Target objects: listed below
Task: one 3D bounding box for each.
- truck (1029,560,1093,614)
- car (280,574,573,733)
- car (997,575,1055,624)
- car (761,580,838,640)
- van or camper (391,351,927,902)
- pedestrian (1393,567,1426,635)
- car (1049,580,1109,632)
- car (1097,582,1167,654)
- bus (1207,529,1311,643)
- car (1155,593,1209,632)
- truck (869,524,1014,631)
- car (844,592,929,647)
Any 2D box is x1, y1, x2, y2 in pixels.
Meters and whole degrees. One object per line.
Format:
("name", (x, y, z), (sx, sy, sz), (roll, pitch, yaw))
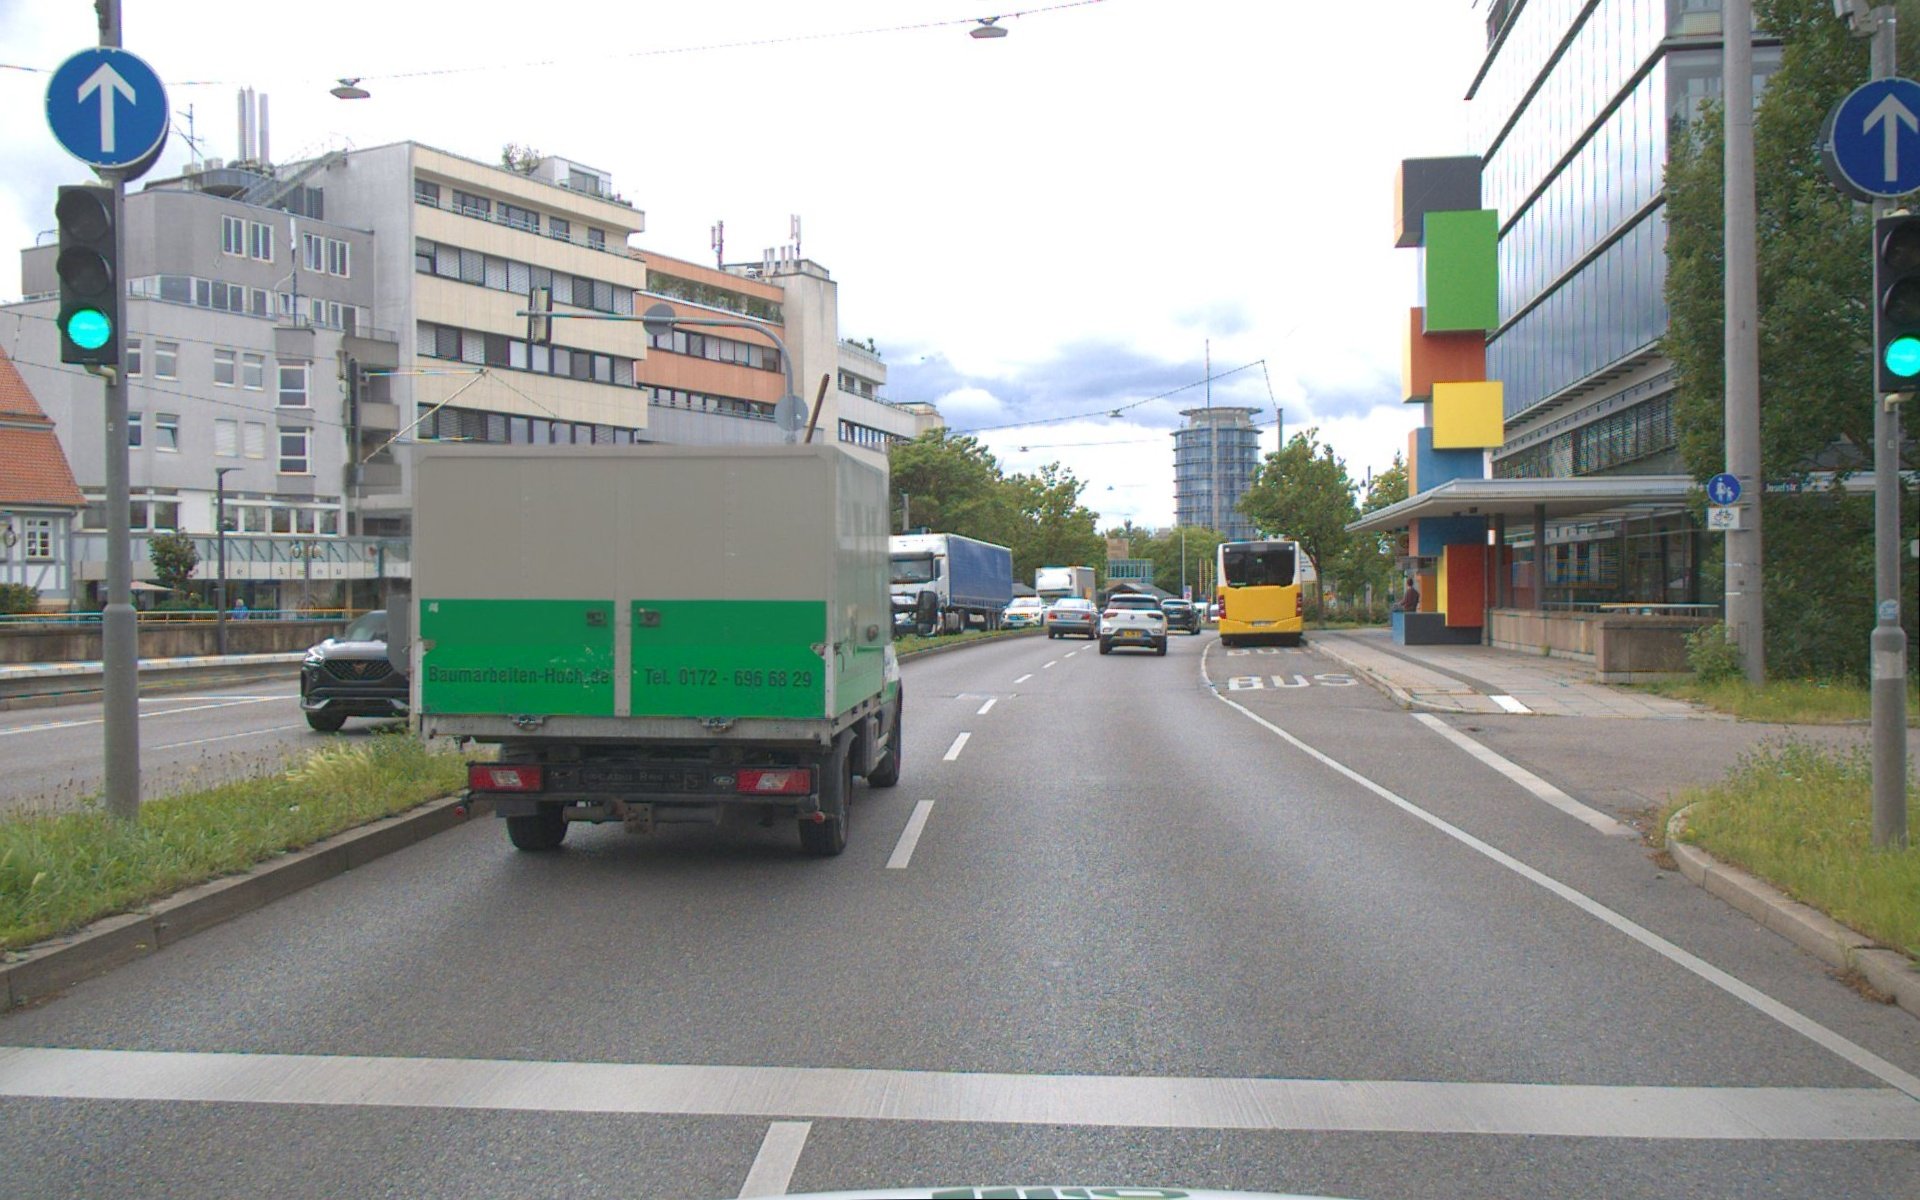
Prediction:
("truck", (6.232, -0.801, 100.672), (3.017, 3.081, 9.366), (0, 0, 9))
("car", (-6.087, 0.578, 19.447), (1.858, 1.646, 4.277), (-1, 0, 3))
("car", (2.921, -0.049, 72.398), (1.951, 2.049, 5.201), (0, 0, 9))
("car", (-4.935, 0.286, 51.382), (1.532, 1.784, 3.844), (0, 0, 7))
("van or camper", (-1.570, 0.051, 11.214), (2.294, 2.708, 5.968), (1, 2, 2))
("pedestrian", (12.362, 0.026, 45.533), (0.695, 1.847, 0.764), (0, 0, 0))
("car", (4.197, 0.183, 57.841), (1.663, 1.542, 3.741), (0, 4, 11))
("car", (4.661, 0.437, 44.453), (1.664, 1.574, 3.740), (3, 4, 8))
("bus", (9.710, -0.456, 53.640), (2.891, 3.246, 9.937), (-2, 0, 11))
("car", (9.655, 0.530, 71.800), (1.664, 1.542, 3.495), (1, 2, 20))
("truck", (-0.474, -0.975, 72.423), (2.891, 4.151, 16.617), (0, 1, 12))
("car", (-2.088, 0.554, 47.925), (1.663, 1.542, 3.496), (0, 0, 11))
